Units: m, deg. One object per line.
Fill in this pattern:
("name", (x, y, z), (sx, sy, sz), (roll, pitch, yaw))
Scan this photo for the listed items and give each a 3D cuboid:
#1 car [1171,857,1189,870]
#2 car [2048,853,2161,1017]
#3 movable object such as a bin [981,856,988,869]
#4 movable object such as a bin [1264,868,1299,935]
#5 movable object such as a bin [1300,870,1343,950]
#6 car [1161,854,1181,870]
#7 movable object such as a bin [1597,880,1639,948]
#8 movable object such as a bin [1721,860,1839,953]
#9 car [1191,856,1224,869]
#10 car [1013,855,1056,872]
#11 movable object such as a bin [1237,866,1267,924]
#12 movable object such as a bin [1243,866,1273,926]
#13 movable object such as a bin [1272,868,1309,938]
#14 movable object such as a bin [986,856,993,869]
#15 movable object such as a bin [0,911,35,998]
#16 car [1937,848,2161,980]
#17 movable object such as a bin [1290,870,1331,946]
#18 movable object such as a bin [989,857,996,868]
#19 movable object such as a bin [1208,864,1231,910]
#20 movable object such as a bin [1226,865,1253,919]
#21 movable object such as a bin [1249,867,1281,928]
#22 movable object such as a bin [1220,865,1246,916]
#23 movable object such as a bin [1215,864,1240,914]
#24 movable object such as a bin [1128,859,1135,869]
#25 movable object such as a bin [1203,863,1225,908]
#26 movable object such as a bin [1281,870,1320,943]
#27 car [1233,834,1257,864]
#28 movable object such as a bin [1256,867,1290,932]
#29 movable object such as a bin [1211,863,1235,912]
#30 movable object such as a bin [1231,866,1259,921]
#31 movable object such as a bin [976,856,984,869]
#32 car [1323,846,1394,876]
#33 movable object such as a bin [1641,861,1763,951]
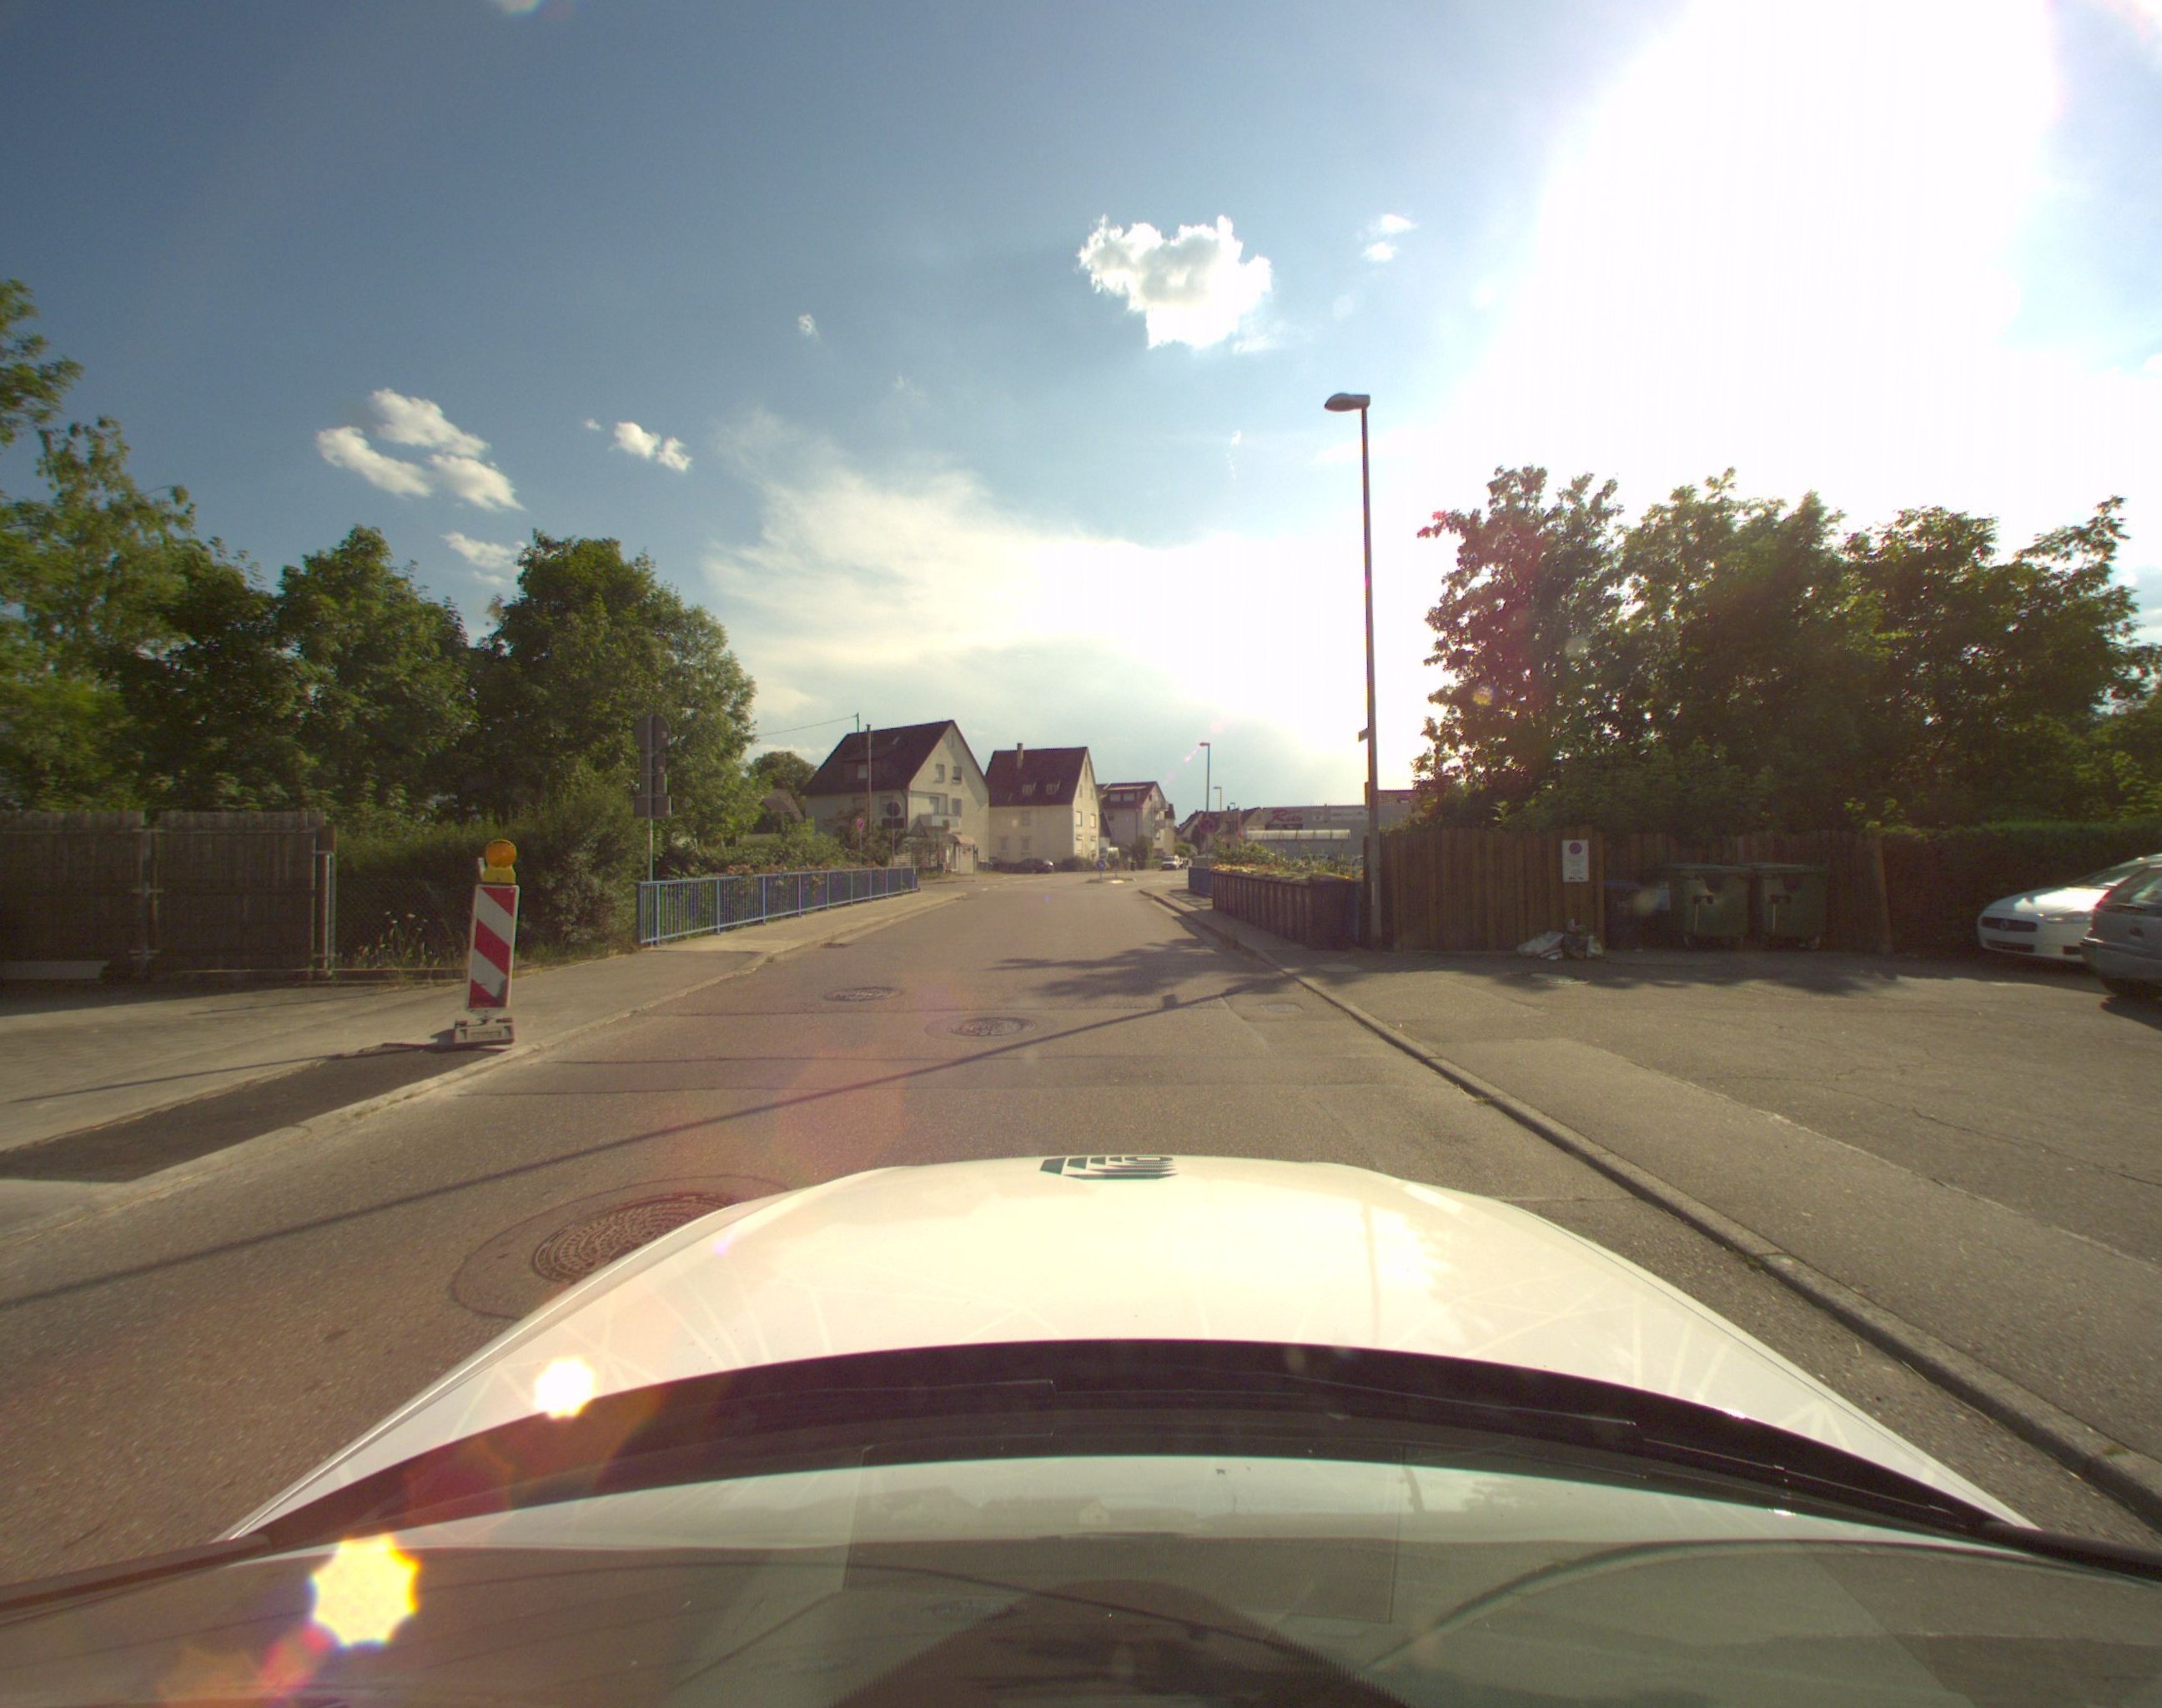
("car", (12.566, 1.208, 103.323), (1.660, 1.451, 3.850), (-1, 0, 15))
("car", (11.302, 0.729, 7.257), (3.102, 1.450, 1.584), (0, 1, 17))
("movable object such as a bin", (-7.959, 0.679, 67.240), (0.357, 1.041, 0.561), (0, -2, 31))
("movable object such as a bin", (3.540, 0.825, 14.399), (0.477, 1.143, 0.538), (-1, 0, -1))
("movable object such as a bin", (3.571, 0.827, 12.117), (0.477, 1.143, 0.538), (-1, 0, -1))
("car", (10.995, 0.932, 99.030), (1.703, 1.872, 4.209), (-2, 0, 15))
("movable object such as a bin", (8.542, 0.946, 12.961), (0.428, 1.044, 0.443), (0, 1, 13))
("movable object such as a bin", (10.759, 0.779, 12.586), (1.033, 1.337, 1.008), (0, 1, 13))
("car", (16.237, 1.086, 104.492), (2.009, 1.608, 3.957), (0, 0, -35))
("car", (-4.356, 0.868, 75.644), (3.950, 1.433, 1.663), (1, 1, 42))
("movable object such as a bin", (3.500, 0.829, 16.725), (0.477, 1.143, 0.564), (-1, 0, -1))
("movable object such as a bin", (3.501, 0.820, 16.142), (0.477, 1.143, 0.538), (-1, 0, -1))
("movable object such as a bin", (3.557, 0.821, 13.828), (0.477, 1.143, 0.538), (-1, 0, -1))
("movable object such as a bin", (-7.611, 0.718, 67.719), (0.357, 1.023, 0.580), (0, -2, 31))
("movable object such as a bin", (-12.062, 1.107, 8.844), (0.589, 0.918, 0.593), (0, 2, 1))
("car", (12.938, 0.655, 9.527), (3.713, 1.450, 1.644), (0, 0, 17))
("movable object such as a bin", (3.568, 0.830, 12.669), (0.477, 1.143, 0.538), (-1, 0, -1))
("movable object such as a bin", (-7.408, 0.749, 68.263), (0.357, 0.925, 0.402), (0, -2, 31))
("movable object such as a bin", (3.464, 0.818, 20.411), (0.477, 1.143, 0.538), (-1, 0, -1))
("movable object such as a bin", (3.485, 0.830, 17.960), (0.477, 1.143, 0.538), (-1, 0, -1))
("movable object such as a bin", (3.515, 0.822, 15.553), (0.477, 1.143, 0.538), (-1, 0, -1))
("movable object such as a bin", (3.471, 0.826, 18.564), (0.477, 1.143, 0.538), (-1, 0, -1))
("movable object such as a bin", (3.454, 0.817, 19.226), (0.477, 1.143, 0.538), (-1, 0, -1))
("movable object such as a bin", (5.515, 1.126, 89.111), (0.606, 1.101, 0.578), (1, -1, 15))
("movable object such as a bin", (3.425, 0.807, 21.034), (0.477, 1.143, 0.538), (-1, 0, -1))
("movable object such as a bin", (3.563, 0.840, 13.262), (0.477, 1.143, 0.542), (-1, 0, -1))
("car", (13.770, -0.412, 68.498), (1.824, 2.375, 5.194), (-1, 0, 11))
("movable object such as a bin", (3.526, 0.823, 14.967), (0.477, 1.143, 0.538), (-1, 0, -1))
("movable object such as a bin", (3.456, 0.810, 19.842), (0.477, 1.143, 0.538), (-1, 0, -1))
("movable object such as a bin", (3.502, 0.827, 17.370), (0.477, 1.143, 0.538), (-1, 0, -1))
("movable object such as a bin", (-8.287, 0.706, 66.691), (0.357, 1.016, 0.561), (0, -2, 31))
("car", (14.469, 0.366, 42.531), (3.409, 1.417, 1.505), (-2, -1, 19))
("movable object such as a bin", (9.636, 0.817, 12.702), (1.144, 1.337, 1.049), (0, -5, 13))
